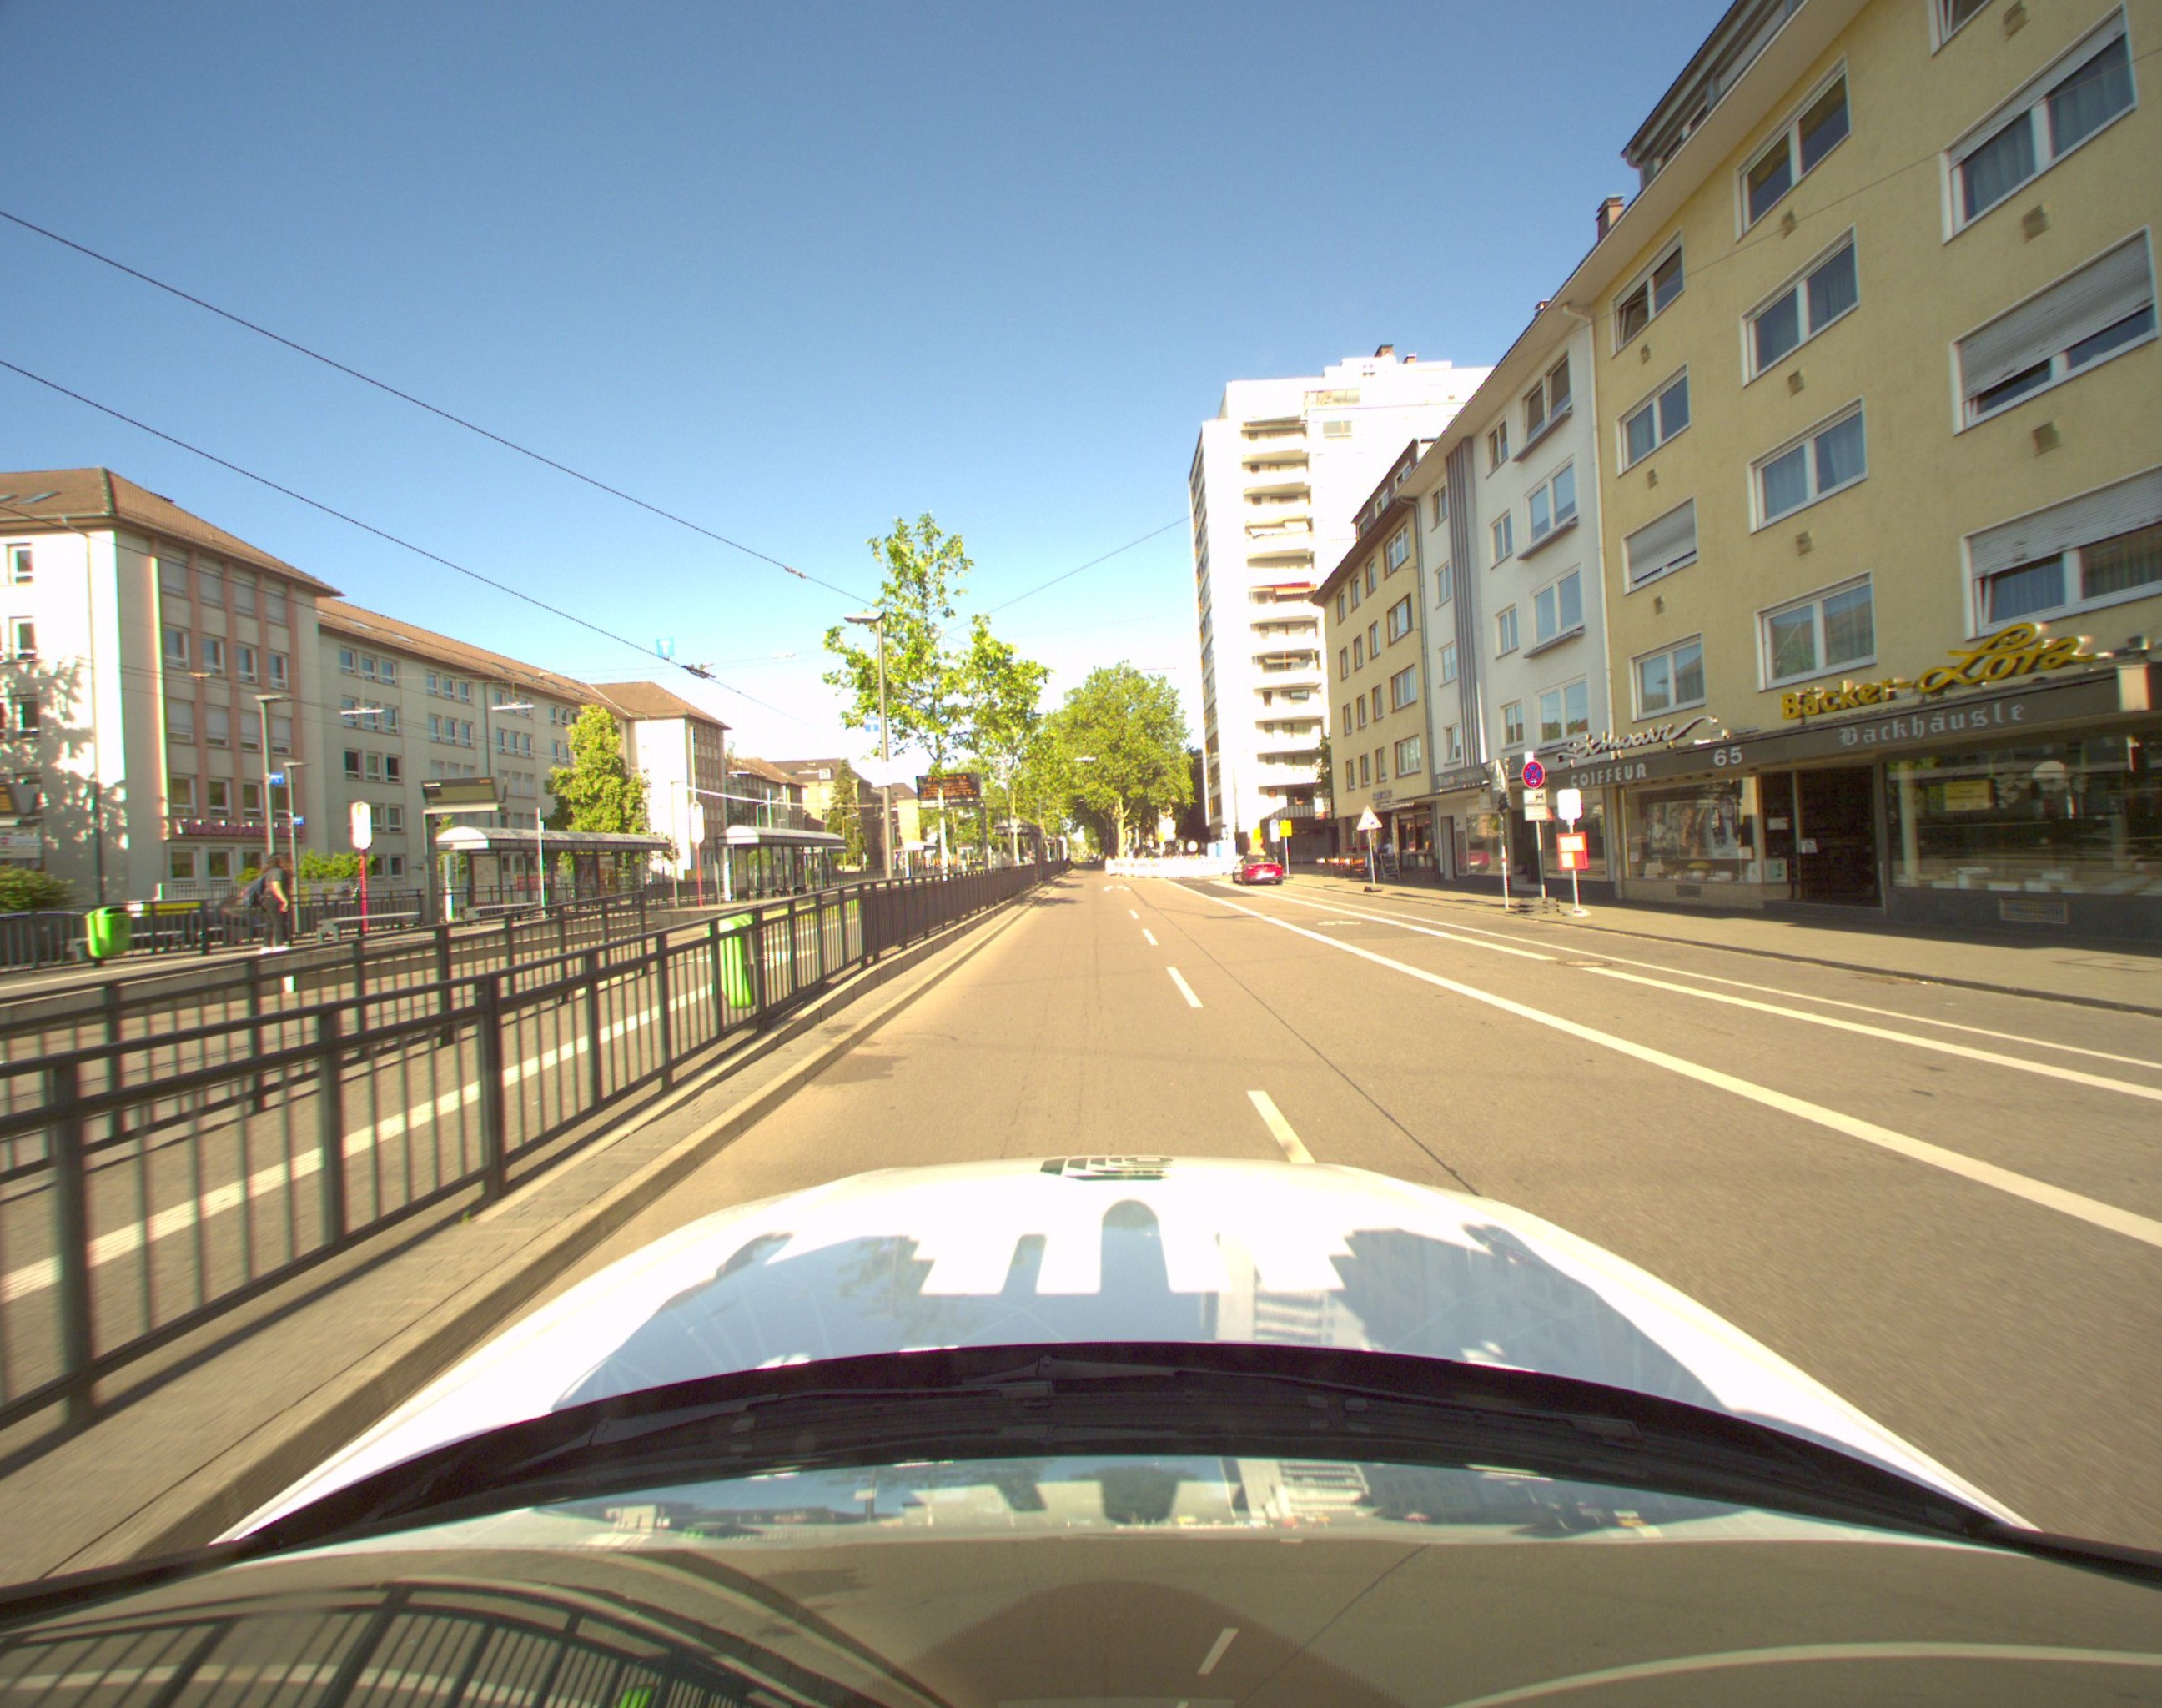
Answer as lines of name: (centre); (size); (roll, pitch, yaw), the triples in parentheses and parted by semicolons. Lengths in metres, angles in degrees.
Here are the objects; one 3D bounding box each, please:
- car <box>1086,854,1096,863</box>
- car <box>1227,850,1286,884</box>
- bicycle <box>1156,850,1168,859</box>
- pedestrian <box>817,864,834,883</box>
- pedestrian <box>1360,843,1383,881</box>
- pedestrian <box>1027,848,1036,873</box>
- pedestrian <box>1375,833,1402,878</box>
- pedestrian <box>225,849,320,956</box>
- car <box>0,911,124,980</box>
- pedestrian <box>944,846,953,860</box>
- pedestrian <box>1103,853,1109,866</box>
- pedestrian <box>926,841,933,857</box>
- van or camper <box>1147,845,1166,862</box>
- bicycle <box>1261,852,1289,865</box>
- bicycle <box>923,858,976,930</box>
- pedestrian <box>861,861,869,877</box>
car: (2.056, 0.968, 164.101); (2.015, 1.662, 4.000); (-3, 0, 1)
car: (8.340, 0.594, 39.152); (1.865, 1.443, 5.161); (-3, 0, 2)
bicycle: (11.347, 0.084, 114.211); (1.600, 1.263, 0.961); (-3, 0, -4)
pedestrian: (-19.443, 1.475, 61.960); (0.972, 1.376, 0.879); (-2, 0, 0)
pedestrian: (11.885, 0.339, 33.322); (0.668, 1.506, 0.652); (-3, 0, 1)
pedestrian: (-4.062, 0.563, 67.205); (0.666, 2.013, 0.716); (-2, 0, -2)
pedestrian: (13.036, 0.058, 34.538); (0.727, 1.854, 0.900); (-3, 0, -3)
pedestrian: (-12.603, 0.742, 12.719); (0.682, 1.592, 0.735); (-3, 0, 1)
car: (-25.445, 2.198, 18.829); (1.790, 1.420, 4.002); (-3, 0, 2)
pedestrian: (-16.984, -0.168, 104.463); (0.949, 1.736, 0.730); (-3, 0, 3)
pedestrian: (3.463, 0.734, 112.490); (0.710, 1.680, 0.772); (-3, 0, -1)
pedestrian: (-18.670, -0.598, 100.534); (0.660, 2.013, 0.860); (-3, 0, 0)
van or camper: (10.915, -0.060, 118.060); (2.283, 2.286, 5.823); (-2, 0, 1)
bicycle: (15.227, 0.357, 63.996); (2.011, 0.943, 1.023); (-2, 0, 20)
bicycle: (-2.724, 0.790, 17.044); (0.637, 1.379, 2.170); (-3, 0, 2)
pedestrian: (-26.816, 1.854, 101.058); (0.690, 1.837, 0.573); (-3, 0, 0)
